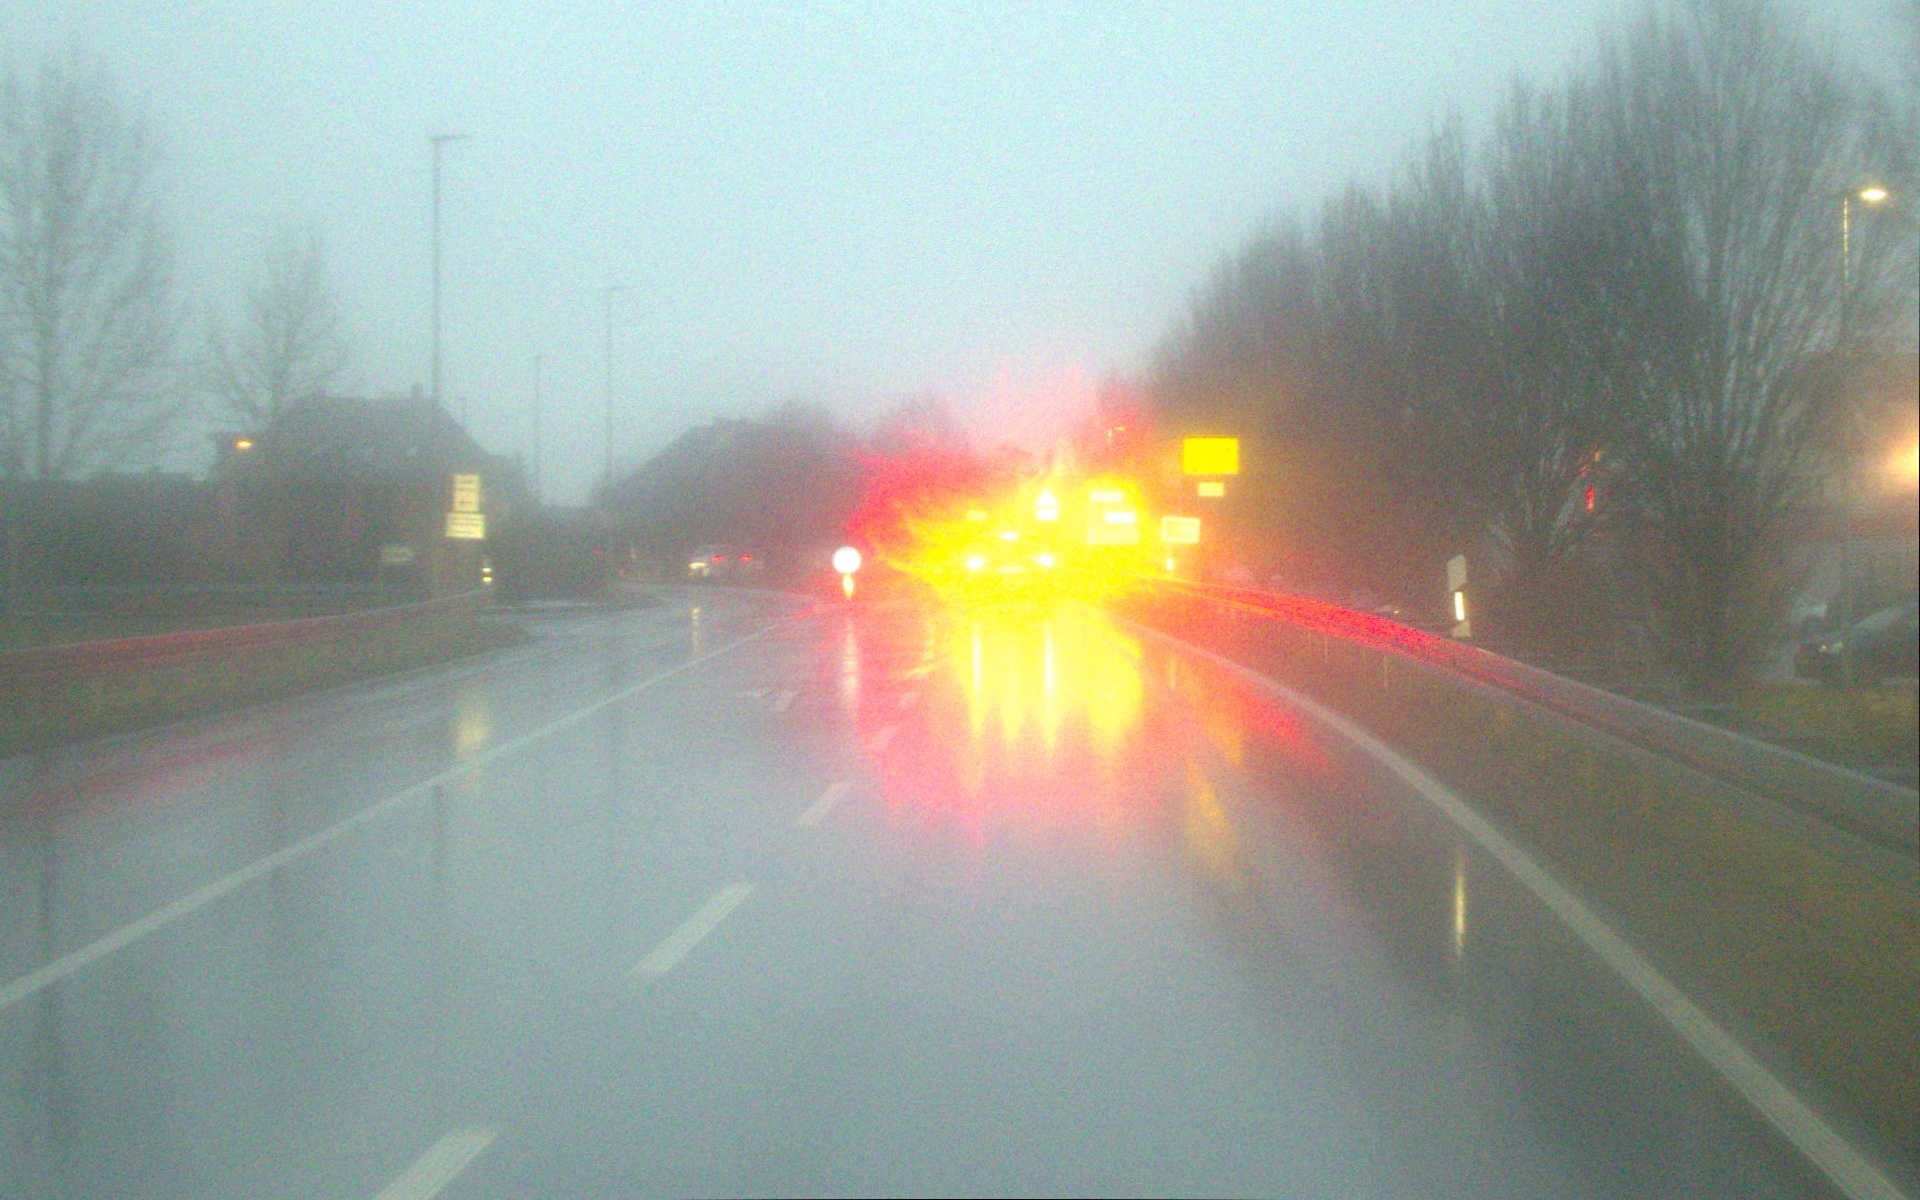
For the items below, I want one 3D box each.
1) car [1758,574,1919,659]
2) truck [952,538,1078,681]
[{"bbox_3d":[15.614,0.298,58.635,3.535,1.419,1.663,0,-1,-8],"label":"car"},{"bbox_3d":[1.103,0.136,71.953,2.532,2.859,5.922,0,1,0],"label":"truck"}]
